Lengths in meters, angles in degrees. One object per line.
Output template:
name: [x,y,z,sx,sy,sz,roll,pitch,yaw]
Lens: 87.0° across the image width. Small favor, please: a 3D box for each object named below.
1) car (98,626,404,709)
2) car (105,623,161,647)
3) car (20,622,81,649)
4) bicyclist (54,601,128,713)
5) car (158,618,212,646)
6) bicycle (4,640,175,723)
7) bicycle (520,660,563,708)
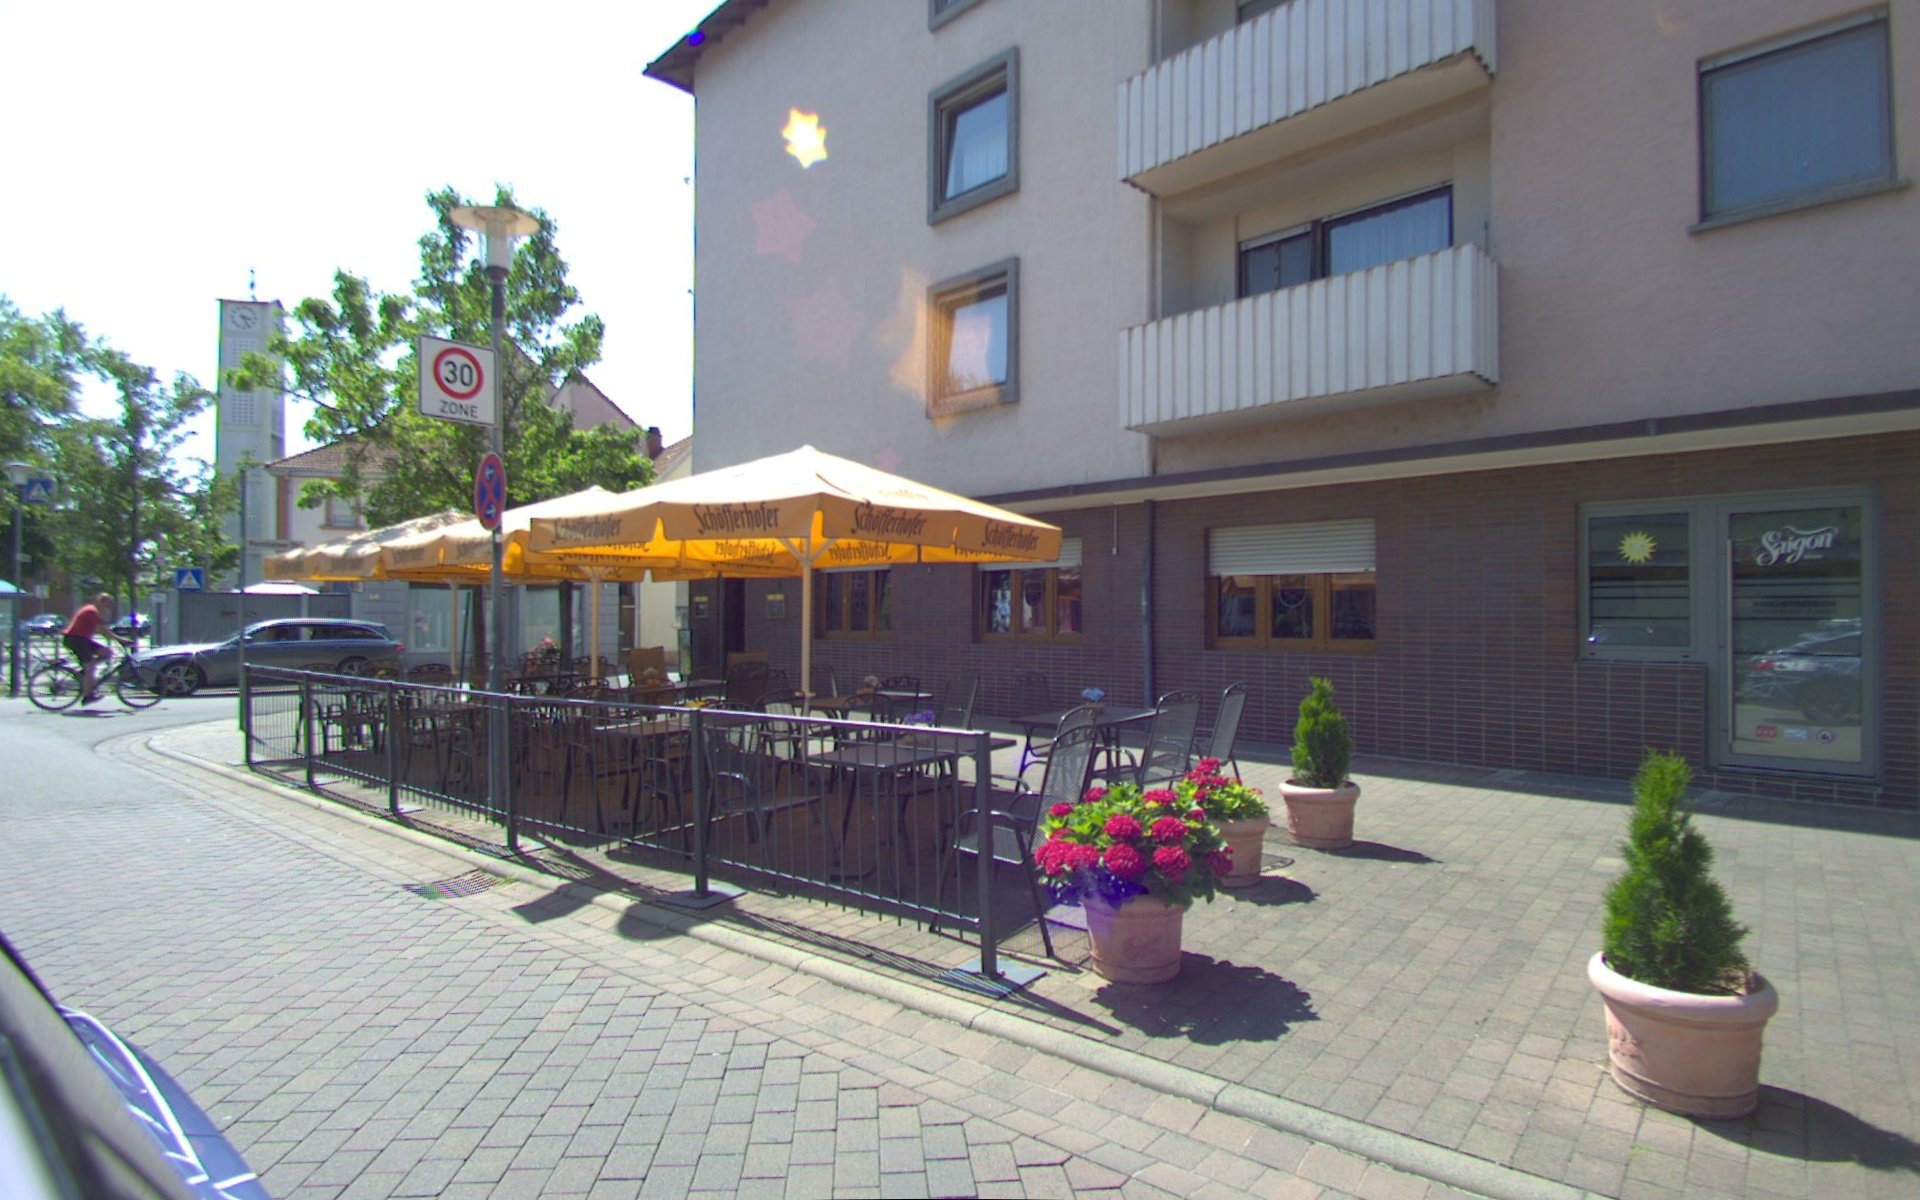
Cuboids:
car: [-14.224,1.344,20.554,1.916,1.493,4.774,-2,-4,43]
car: [-53.396,2.283,65.395,1.622,1.479,3.791,0,-2,-20]
car: [-57.277,2.242,63.797,1.966,1.629,4.012,1,-2,-29]
bicyclist: [-13.949,0.902,16.245,0.703,1.729,0.749,-1,-3,41]
car: [-51.140,2.117,66.865,1.751,1.807,4.013,0,-2,-20]
bicycle: [-13.925,1.275,16.242,0.738,1.198,1.944,2,-1,40]
bicycle: [-8.262,1.643,20.009,0.457,0.904,1.417,-1,-3,-9]
